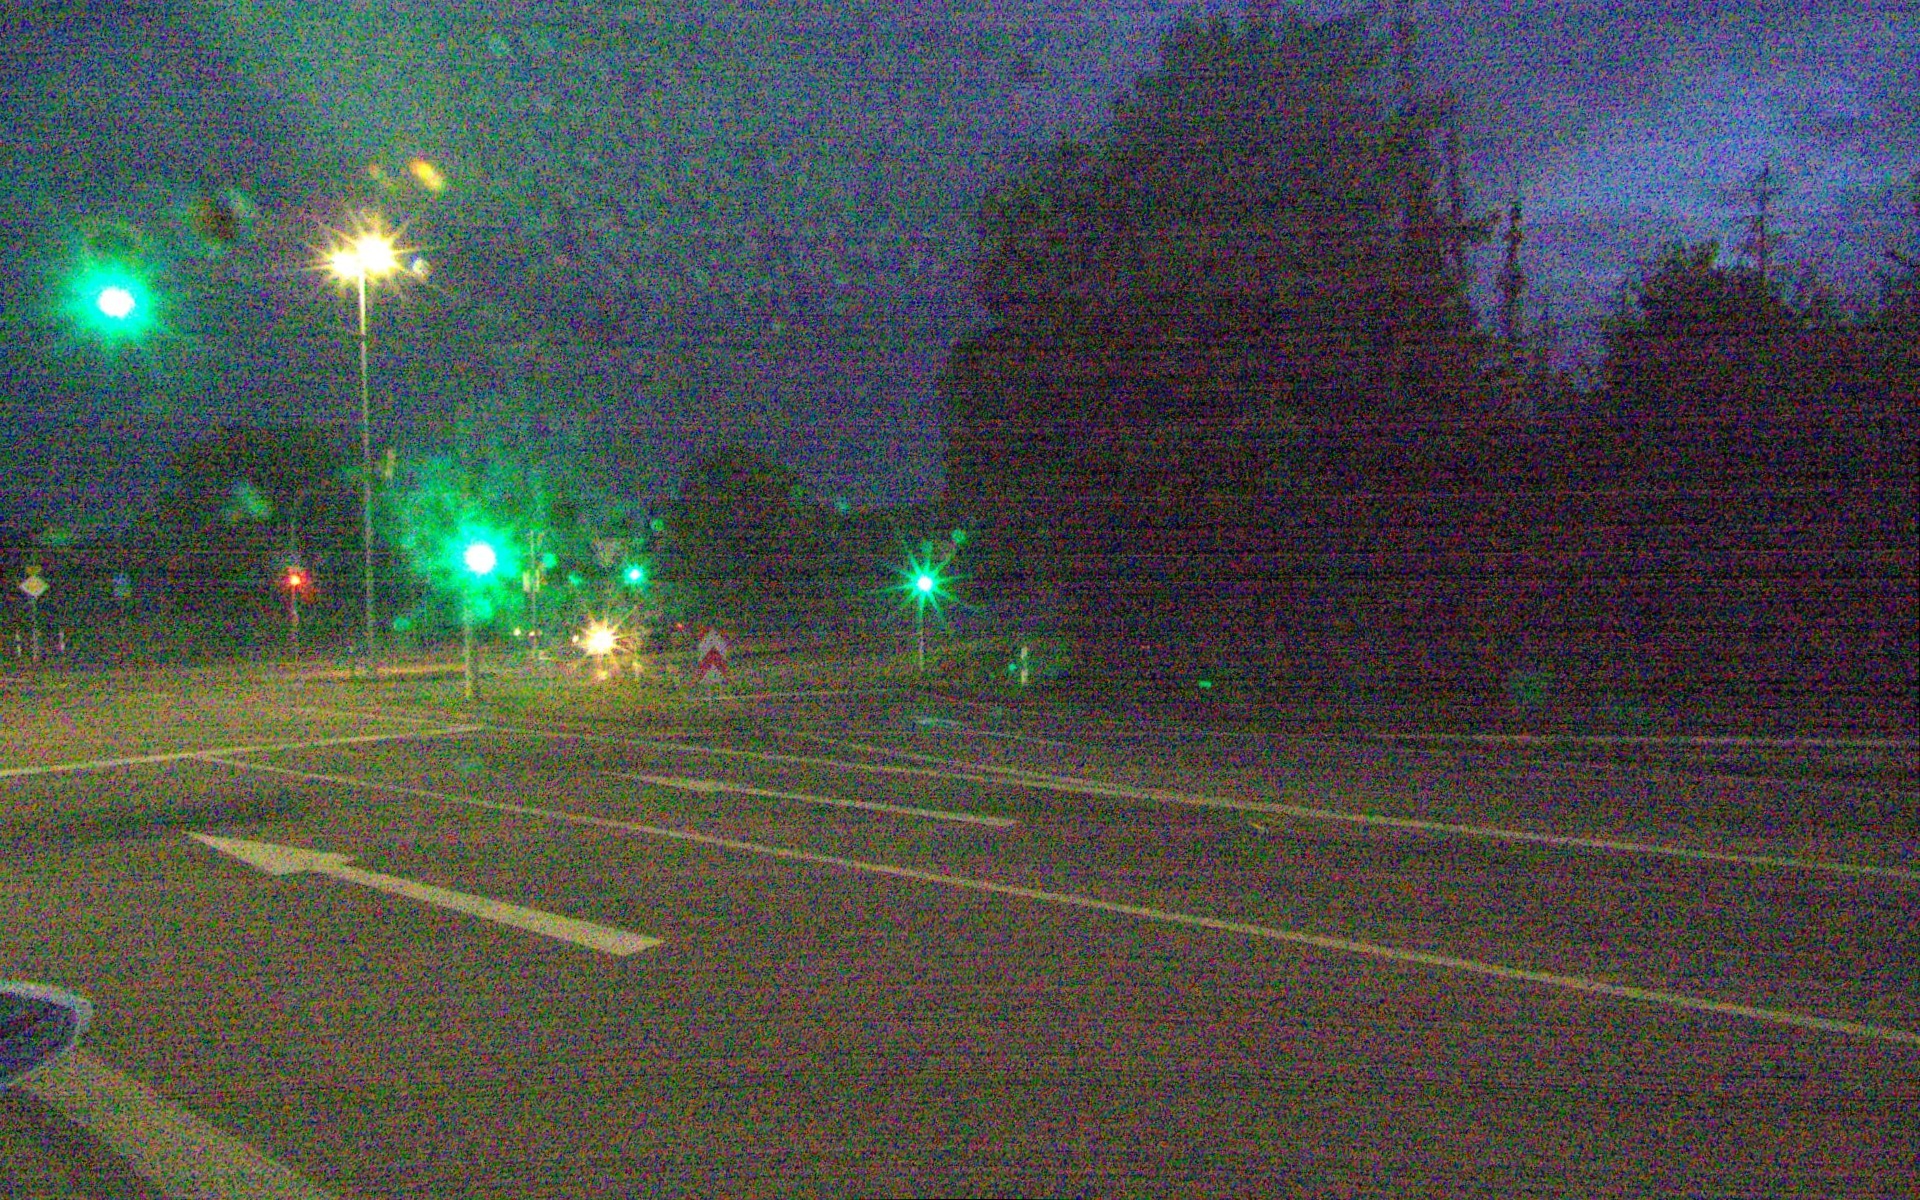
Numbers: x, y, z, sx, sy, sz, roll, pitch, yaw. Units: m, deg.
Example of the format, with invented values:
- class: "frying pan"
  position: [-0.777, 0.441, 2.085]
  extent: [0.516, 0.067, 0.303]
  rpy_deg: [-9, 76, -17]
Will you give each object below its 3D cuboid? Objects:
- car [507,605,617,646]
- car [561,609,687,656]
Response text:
- class: "car"
  position: [-16.437, 1.029, 41.557]
  extent: [1.871, 1.590, 3.983]
  rpy_deg: [0, 0, 29]
- class: "car"
  position: [-12.038, 1.128, 36.115]
  extent: [1.972, 1.590, 4.070]
  rpy_deg: [0, -1, 29]
